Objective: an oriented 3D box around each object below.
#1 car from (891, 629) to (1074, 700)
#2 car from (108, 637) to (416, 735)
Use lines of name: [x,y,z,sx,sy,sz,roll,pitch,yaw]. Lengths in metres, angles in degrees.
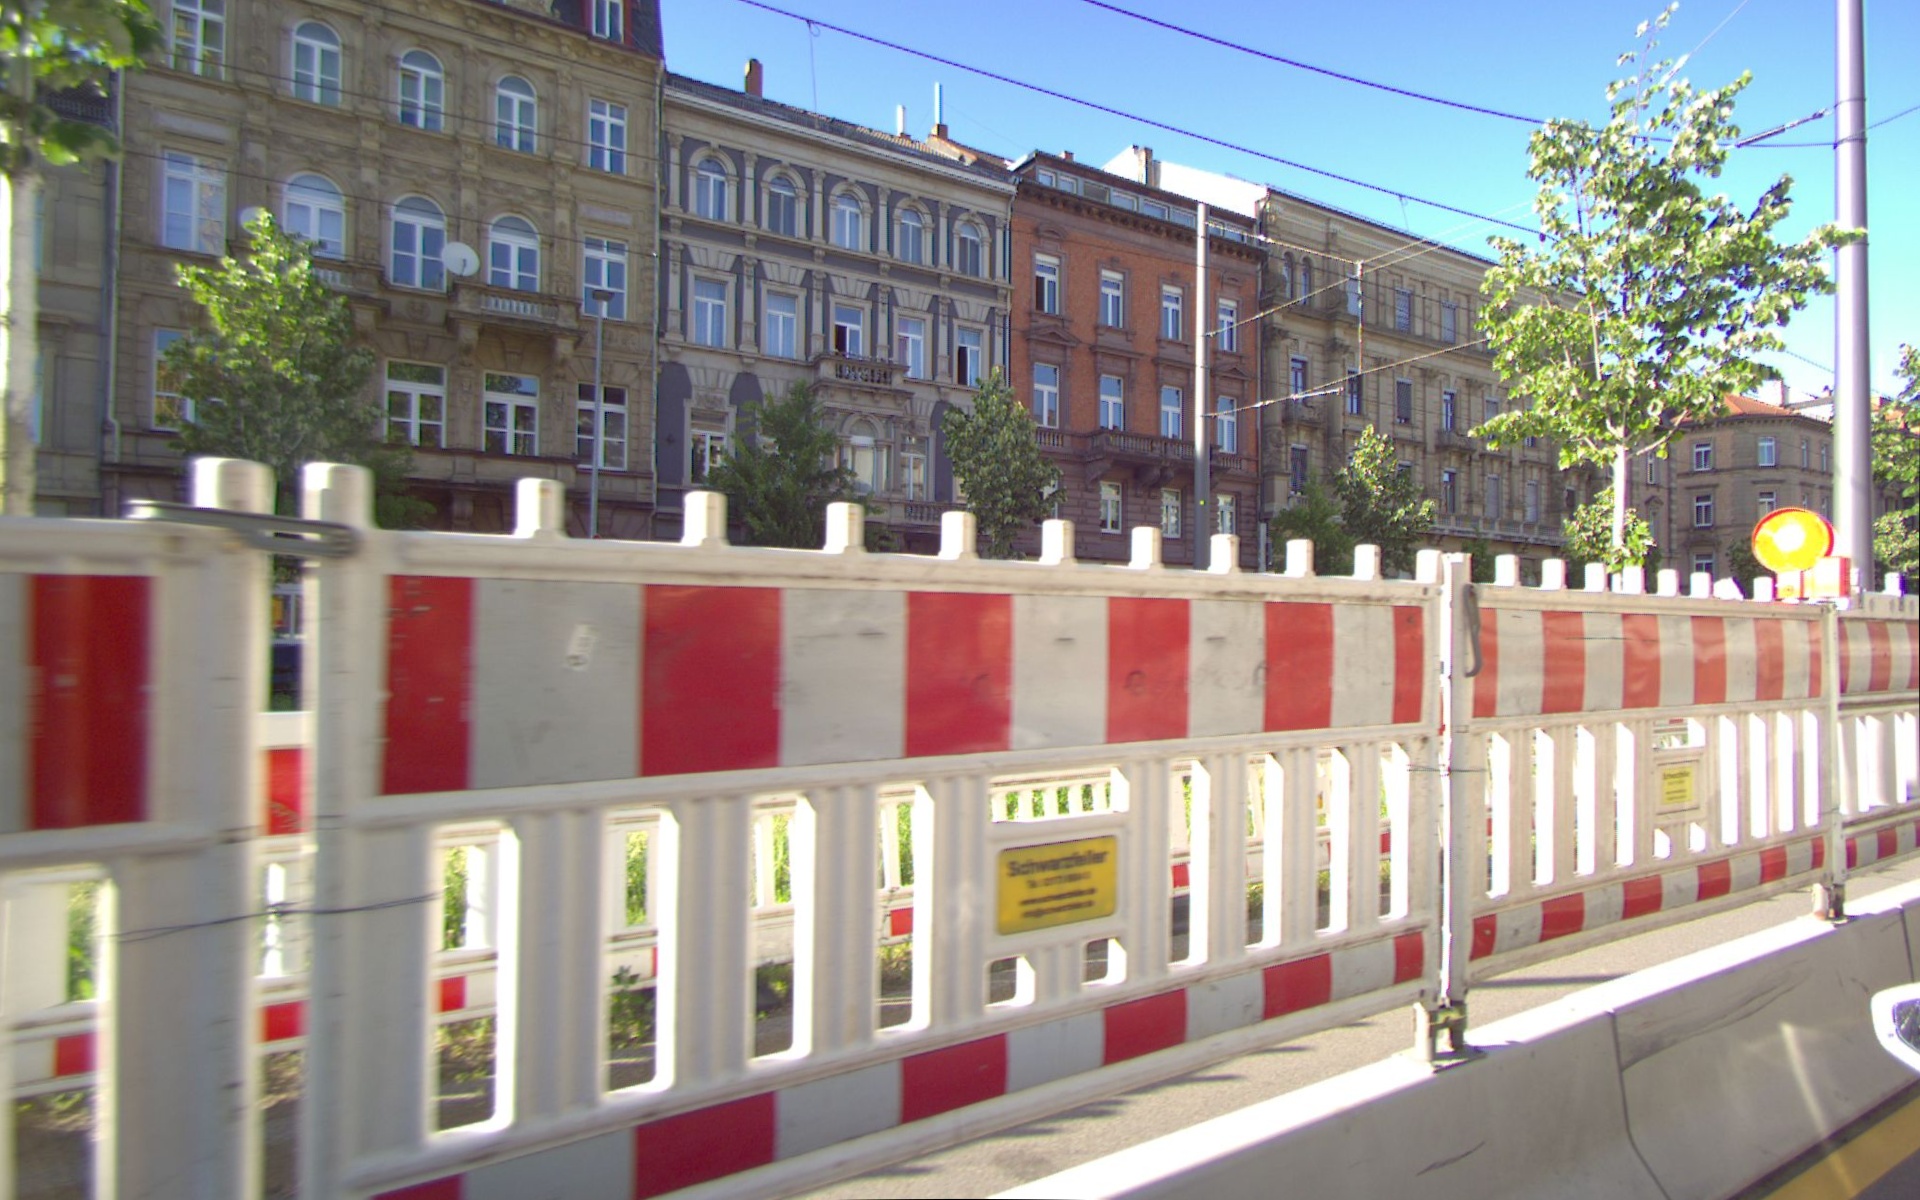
car: [0.618,1.689,26.727,4.489,1.680,1.930,2,0,-29]
car: [-12.150,1.451,17.867,4.260,1.457,1.983,2,0,-31]
